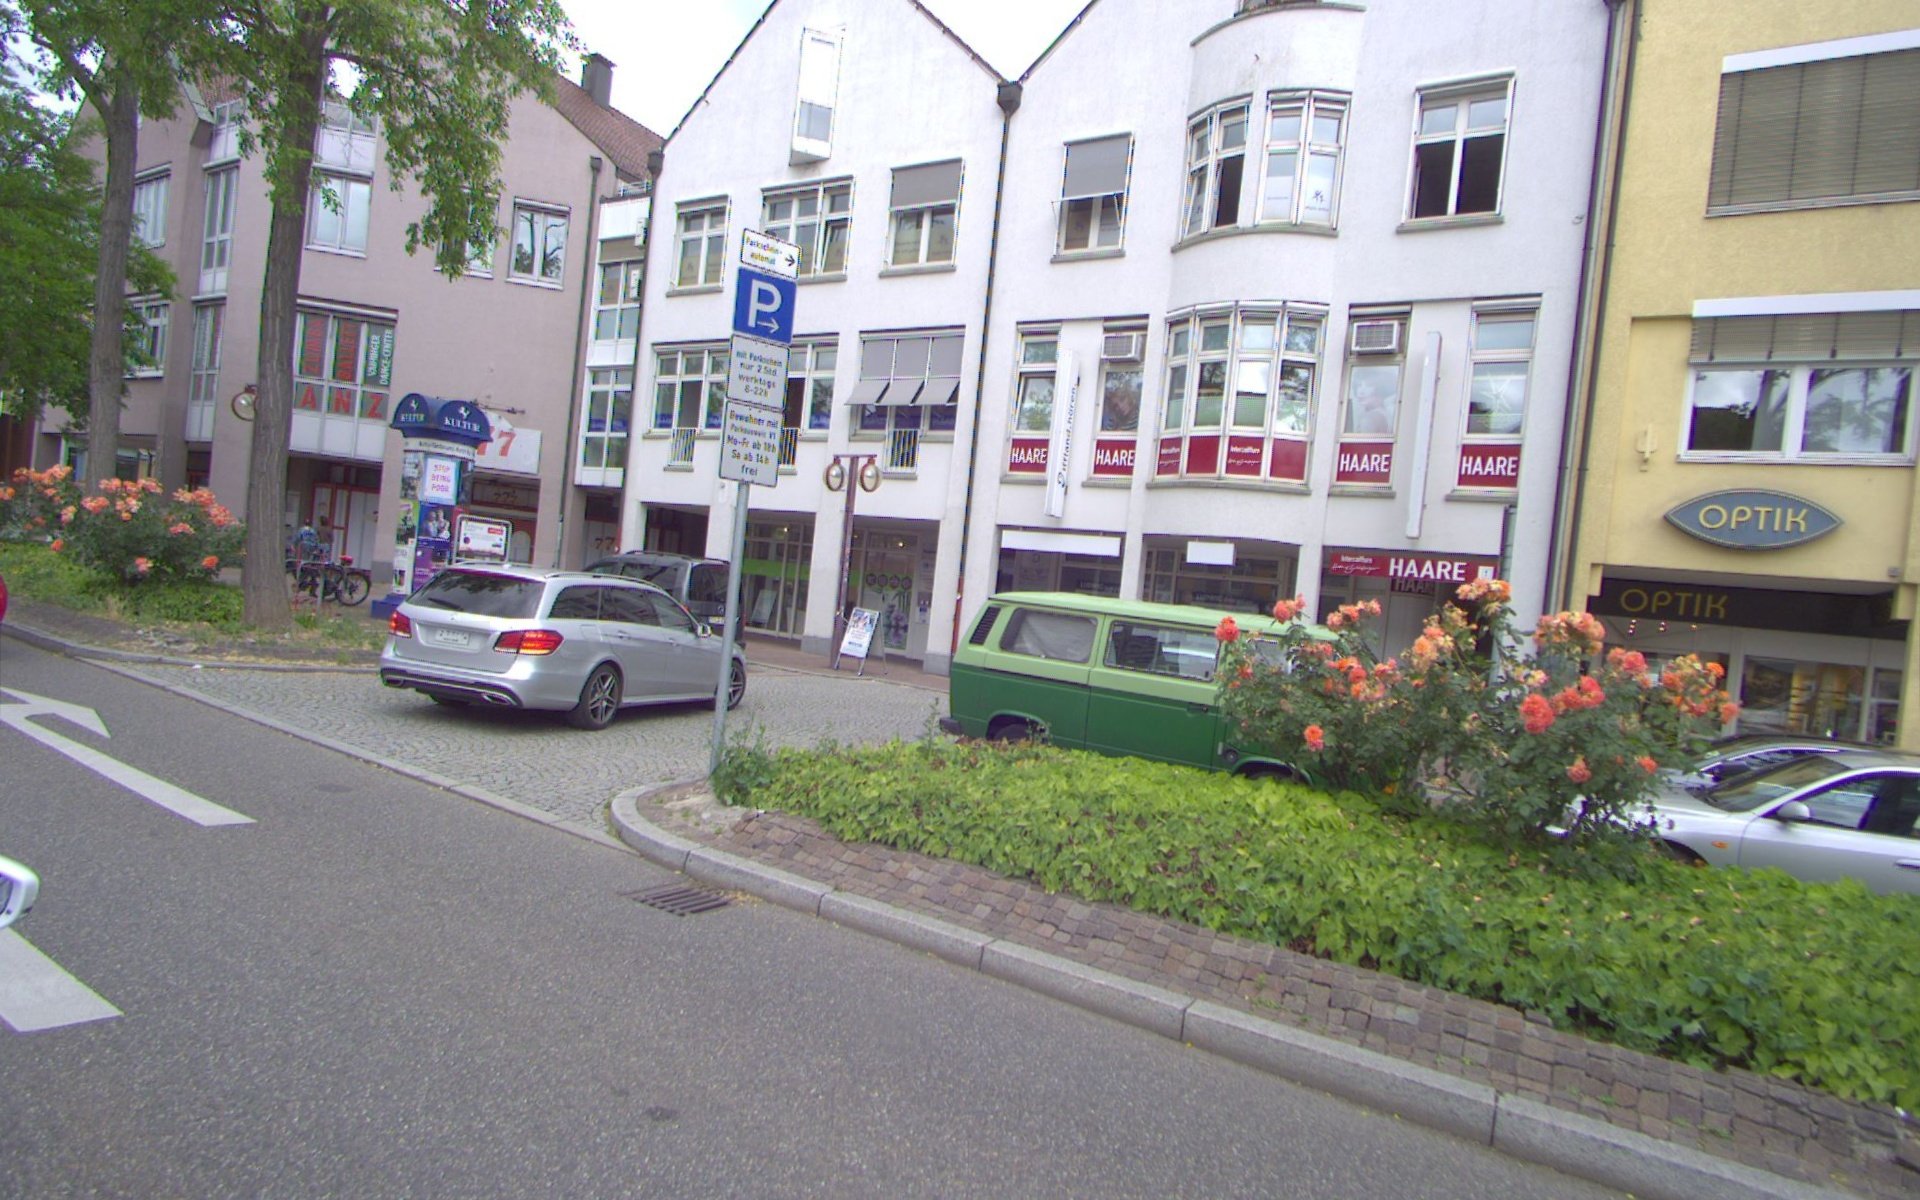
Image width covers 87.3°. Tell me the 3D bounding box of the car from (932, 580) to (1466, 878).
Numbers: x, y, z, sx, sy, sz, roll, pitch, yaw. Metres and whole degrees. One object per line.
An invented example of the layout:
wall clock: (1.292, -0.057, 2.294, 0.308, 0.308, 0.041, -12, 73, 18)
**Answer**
car: (2.228, 1.024, 9.740, 4.527, 1.900, 1.882, 7, 1, 30)

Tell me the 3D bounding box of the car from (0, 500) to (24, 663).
car: (-10.389, -0.405, 9.313, 3.293, 1.459, 1.590, 7, -2, 32)

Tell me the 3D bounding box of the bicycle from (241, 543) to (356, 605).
bicycle: (-13.001, -0.495, 19.820, 0.440, 1.009, 1.769, 7, 0, 35)

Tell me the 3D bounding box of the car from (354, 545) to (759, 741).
car: (-3.995, 0.460, 10.924, 1.786, 1.465, 4.373, 8, -1, 12)

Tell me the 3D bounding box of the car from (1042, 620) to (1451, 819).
car: (3.389, 1.288, 12.137, 4.319, 1.562, 1.798, 7, 1, 30)

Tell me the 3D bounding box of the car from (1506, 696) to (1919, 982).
car: (6.549, 1.776, 7.360, 4.344, 1.468, 1.765, 7, 0, 30)

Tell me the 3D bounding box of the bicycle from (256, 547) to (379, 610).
bicycle: (-12.493, -0.397, 19.619, 0.460, 1.009, 1.902, 7, 0, 35)

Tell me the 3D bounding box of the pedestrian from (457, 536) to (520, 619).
pedestrian: (-10.117, -0.481, 21.594, 0.805, 1.681, 0.789, 7, 3, 31)

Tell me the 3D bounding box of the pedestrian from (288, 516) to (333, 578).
pedestrian: (-17.097, -1.391, 26.480, 0.610, 1.534, 0.612, 7, 0, 10)

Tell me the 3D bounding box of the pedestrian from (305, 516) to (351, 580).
pedestrian: (-17.013, -1.392, 27.101, 0.610, 1.583, 0.665, 7, 0, 10)

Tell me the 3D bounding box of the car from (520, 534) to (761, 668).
car: (-5.672, -0.004, 17.796, 3.897, 1.855, 1.640, 7, 1, 27)

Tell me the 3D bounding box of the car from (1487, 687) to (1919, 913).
car: (7.722, 1.885, 9.870, 4.344, 1.394, 1.999, 7, 1, 30)
